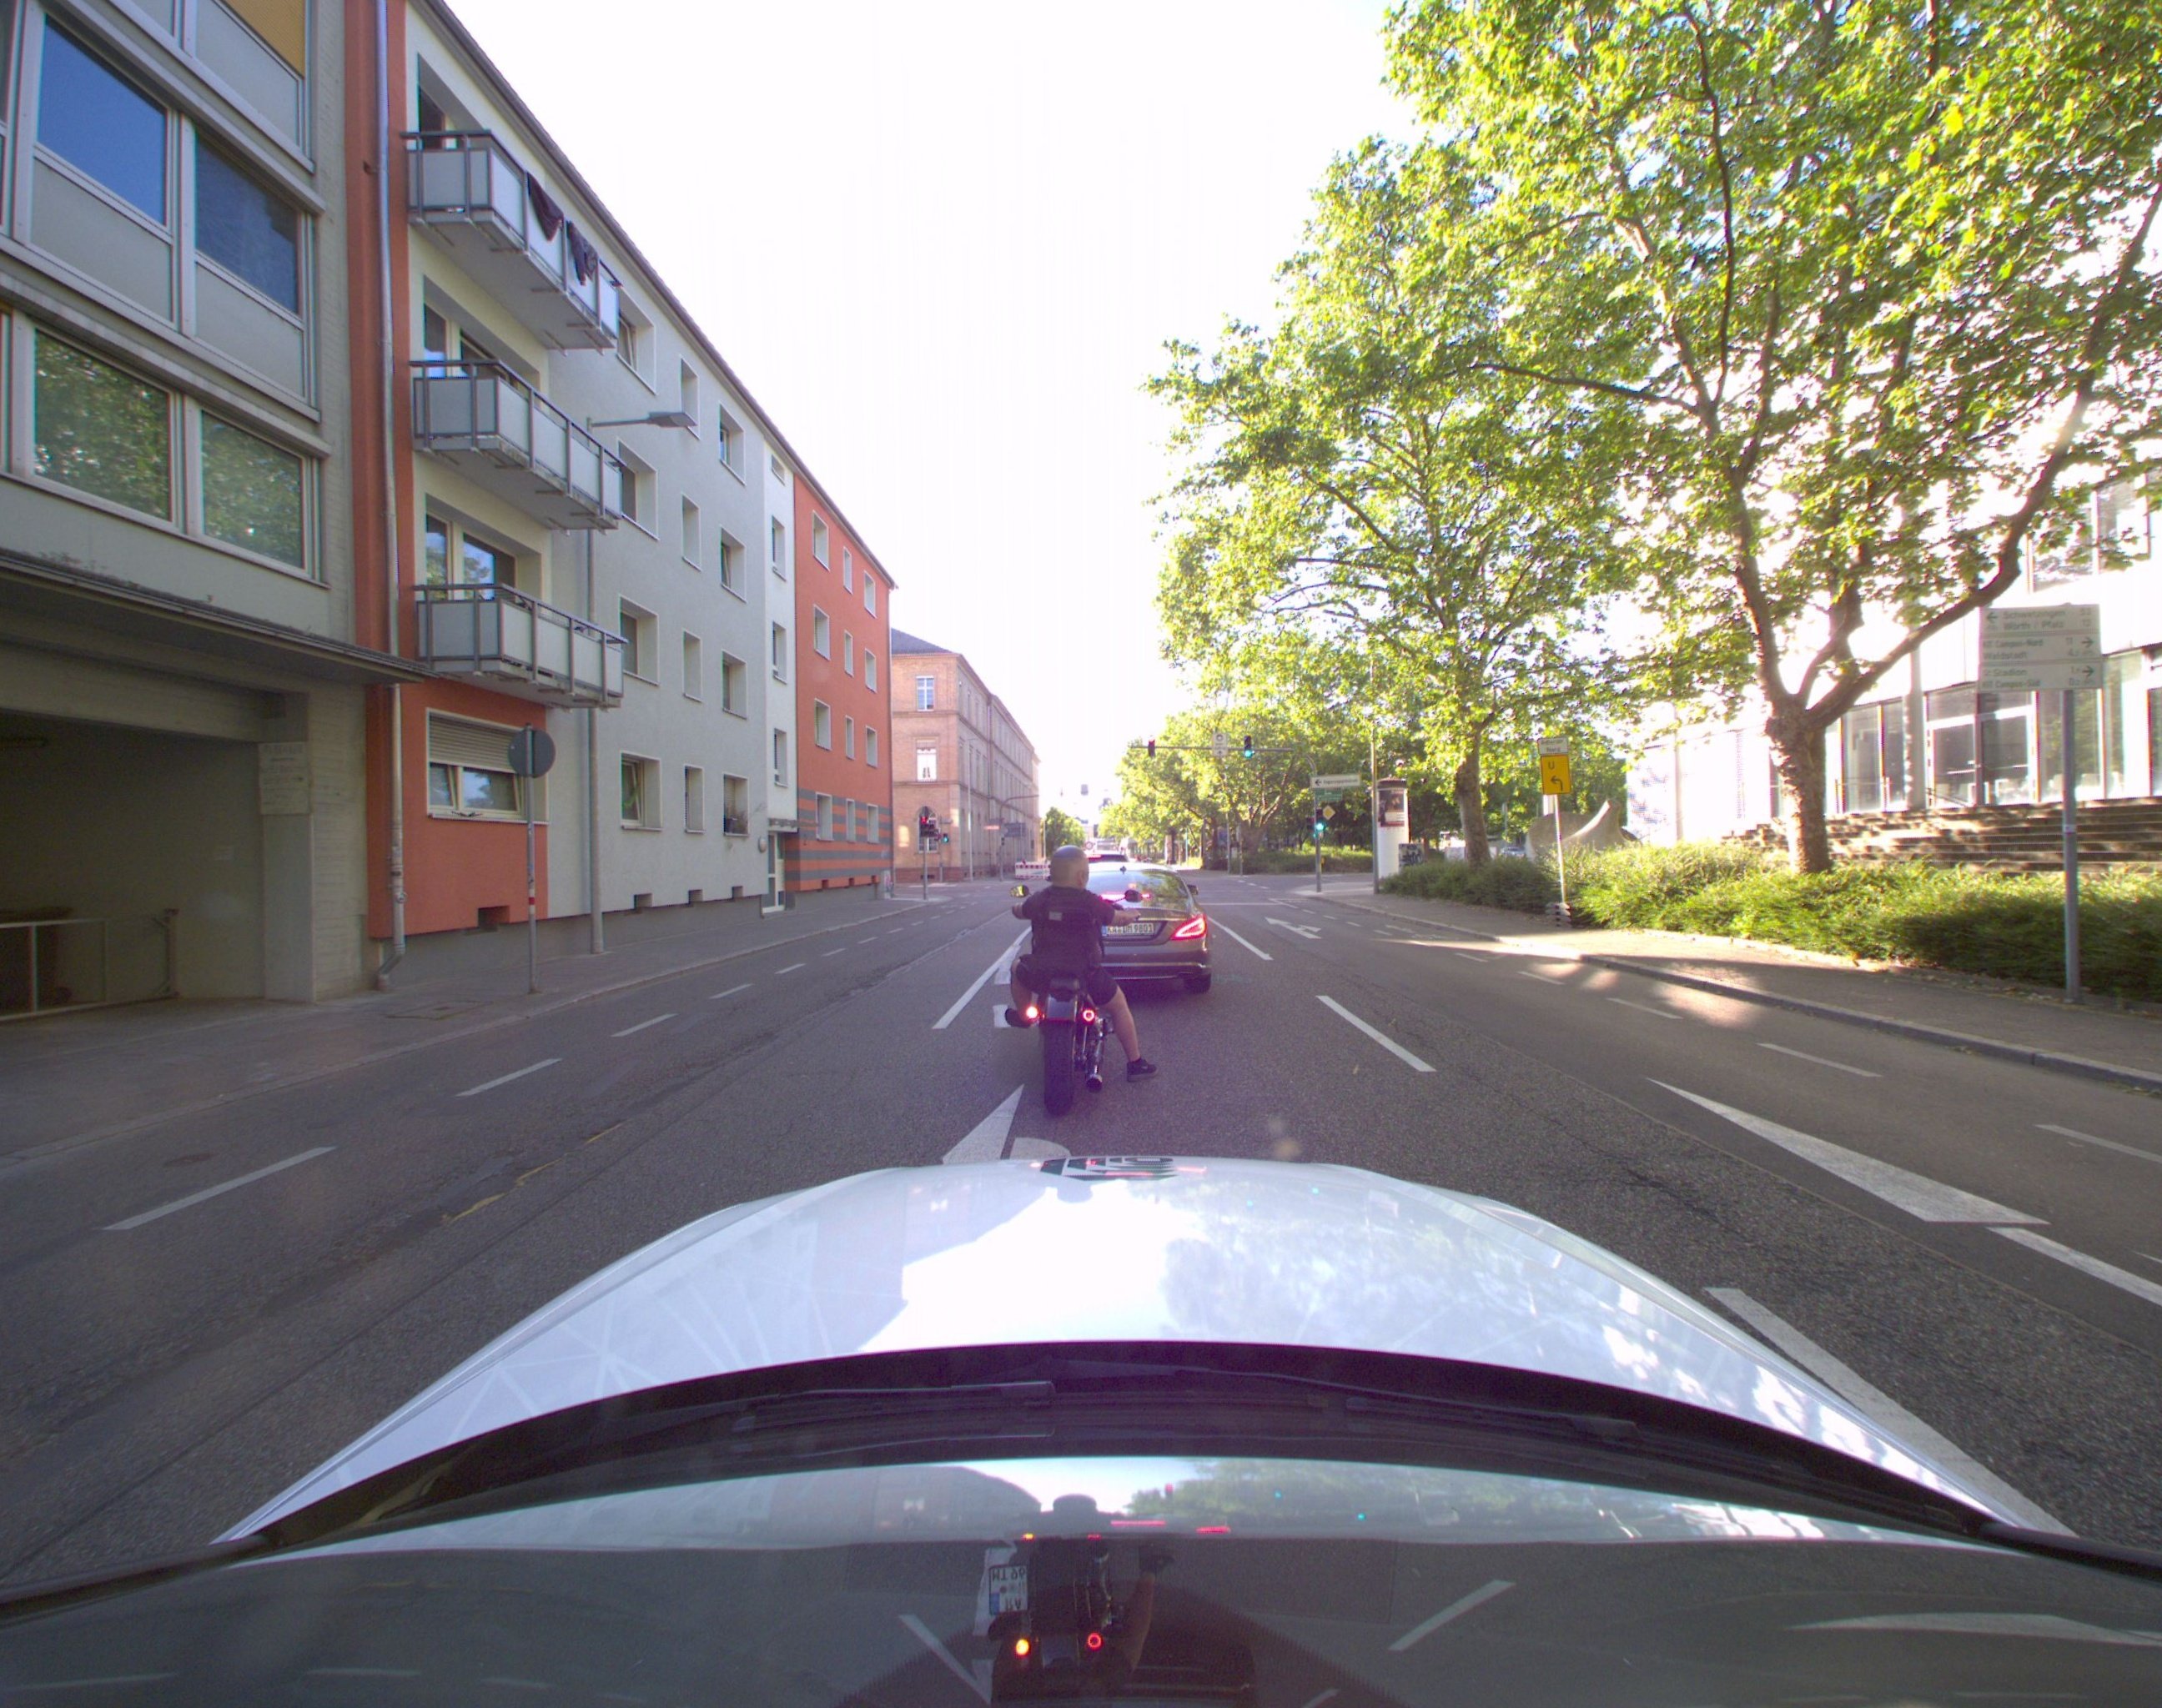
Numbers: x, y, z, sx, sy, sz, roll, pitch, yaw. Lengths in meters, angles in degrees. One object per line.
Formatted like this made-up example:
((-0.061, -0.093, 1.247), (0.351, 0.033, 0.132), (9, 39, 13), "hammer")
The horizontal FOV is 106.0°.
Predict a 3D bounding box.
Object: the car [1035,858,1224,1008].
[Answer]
((0.526, 0.783, 9.789), (1.815, 1.437, 3.807), (0, -1, 2), "car")

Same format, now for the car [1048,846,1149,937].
((0.387, 0.714, 17.078), (1.856, 1.678, 4.001), (0, -1, 2), "car")

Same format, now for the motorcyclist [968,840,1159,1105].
((-0.064, 0.708, 5.414), (1.093, 1.566, 1.074), (-1, -1, 8), "motorcyclist")

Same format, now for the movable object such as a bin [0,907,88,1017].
((-11.278, 1.124, 8.657), (0.533, 1.079, 0.723), (0, -1, 3), "movable object such as a bin")

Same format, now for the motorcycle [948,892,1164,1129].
((-0.035, 0.915, 5.632), (1.111, 1.207, 2.217), (-1, -1, 8), "motorcycle")

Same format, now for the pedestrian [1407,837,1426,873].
((16.632, 0.051, 40.407), (0.730, 1.778, 0.732), (-1, -1, 13), "pedestrian")
